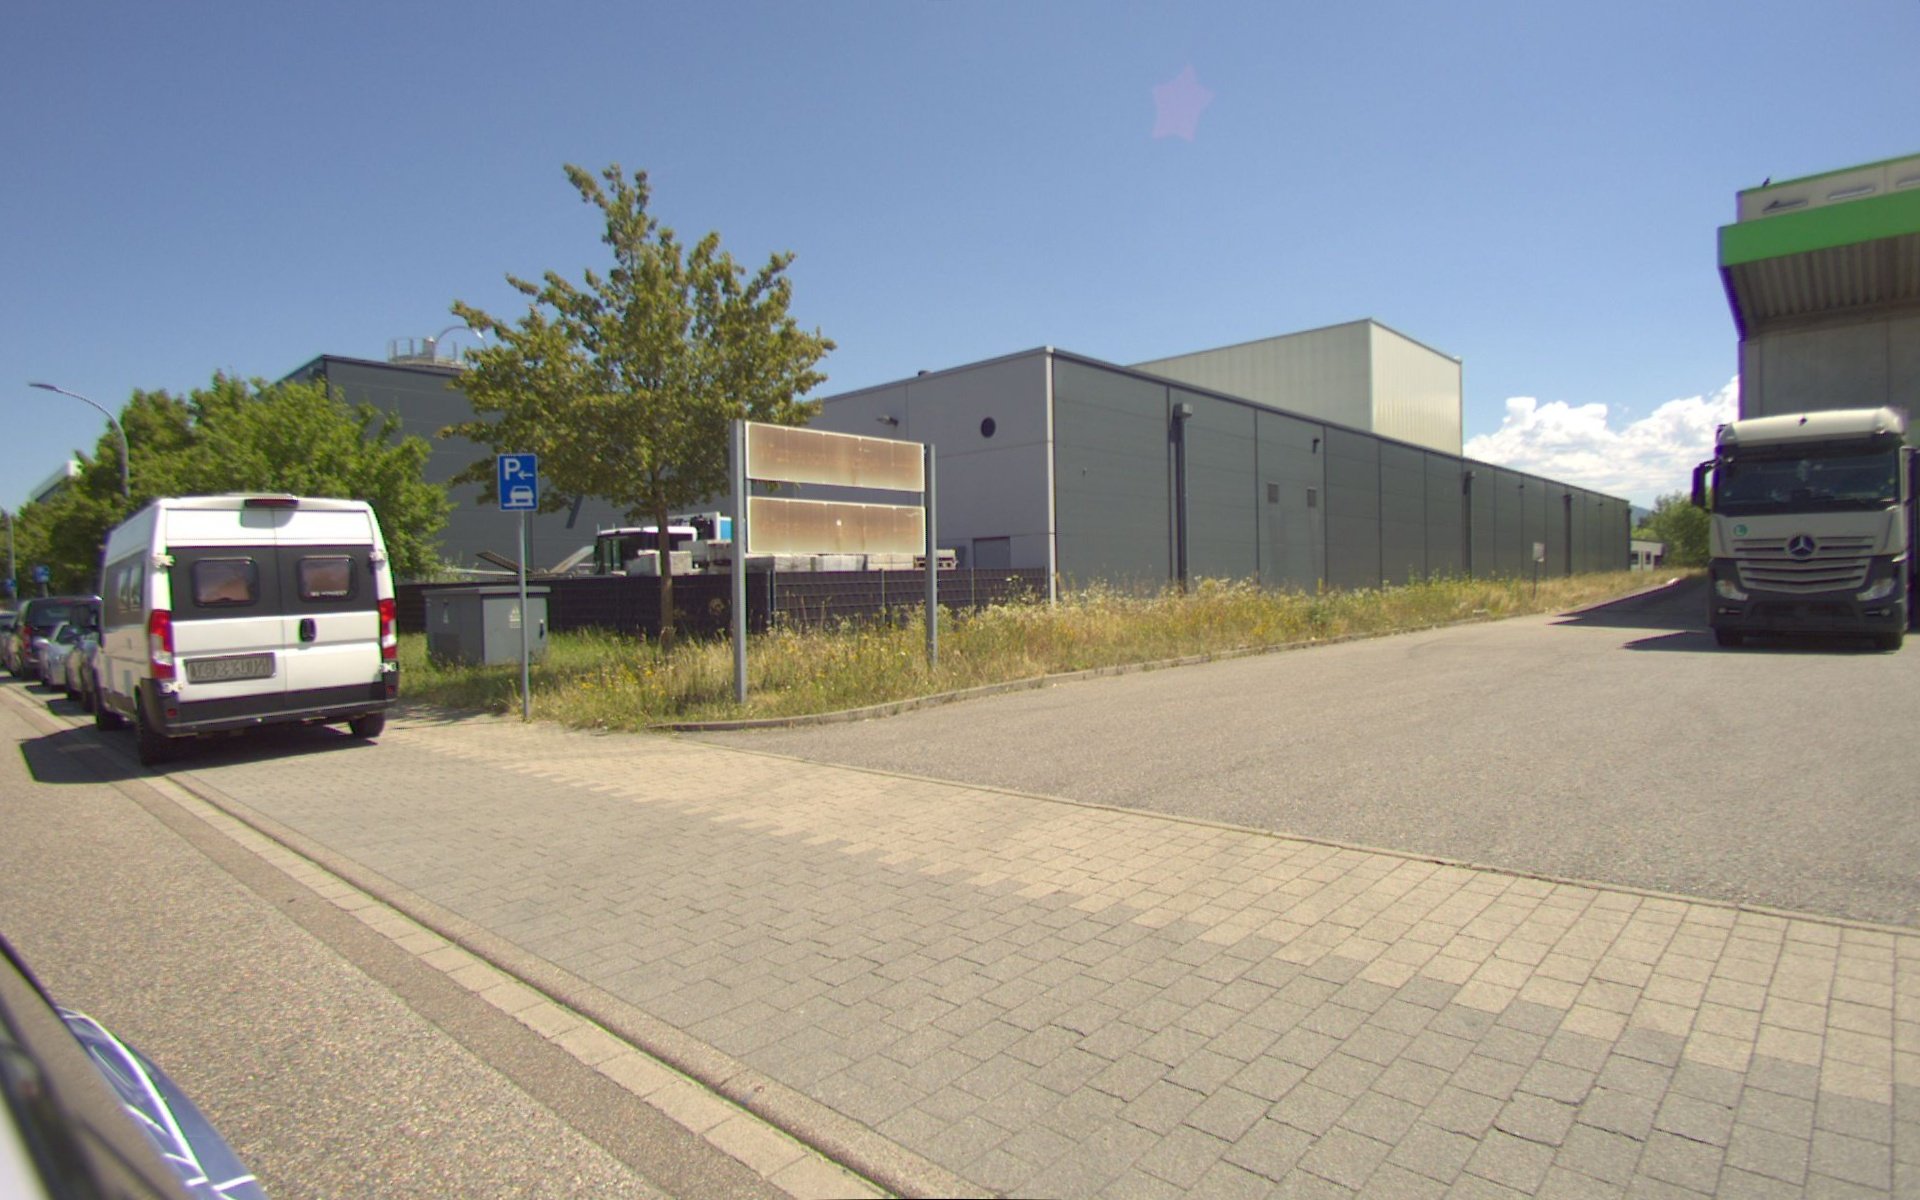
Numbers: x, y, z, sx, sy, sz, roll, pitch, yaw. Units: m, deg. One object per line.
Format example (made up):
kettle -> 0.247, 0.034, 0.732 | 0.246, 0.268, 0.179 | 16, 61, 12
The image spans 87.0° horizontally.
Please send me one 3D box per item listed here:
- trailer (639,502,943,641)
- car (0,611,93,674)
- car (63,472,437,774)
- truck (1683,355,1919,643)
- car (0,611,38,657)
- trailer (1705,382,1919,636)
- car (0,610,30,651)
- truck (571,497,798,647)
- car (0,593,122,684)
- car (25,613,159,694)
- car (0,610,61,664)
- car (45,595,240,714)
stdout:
trailer -> -5.193, -0.949, 35.223 | 3.145, 4.000, 12.408 | -1, 1, 31
car -> -25.234, 1.092, 27.656 | 4.452, 1.475, 1.775 | -1, 2, 43
car -> -8.433, 0.175, 11.690 | 6.086, 2.618, 2.297 | -1, 2, 44
truck -> 14.965, -1.481, 17.491 | 3.219, 4.118, 6.039 | -1, 0, 43
car -> -34.009, 1.196, 35.653 | 4.189, 1.497, 1.775 | -1, 2, 42
trailer -> 19.834, -1.590, 22.741 | 3.219, 4.118, 15.154 | -1, 0, 43
car -> -38.106, 1.207, 39.842 | 3.968, 1.497, 1.775 | -1, 2, 42
truck -> -8.065, -0.798, 30.344 | 3.145, 4.000, 5.991 | -1, 1, 31
car -> -20.657, 0.819, 23.120 | 4.083, 1.824, 1.811 | -1, 2, 44
car -> -16.984, 0.966, 19.740 | 4.002, 1.321, 1.625 | -1, 3, 45
car -> -29.726, 1.132, 31.734 | 4.451, 1.497, 1.775 | -1, 2, 42
car -> -13.204, 0.781, 16.239 | 4.626, 1.552, 1.811 | -1, 2, 44
